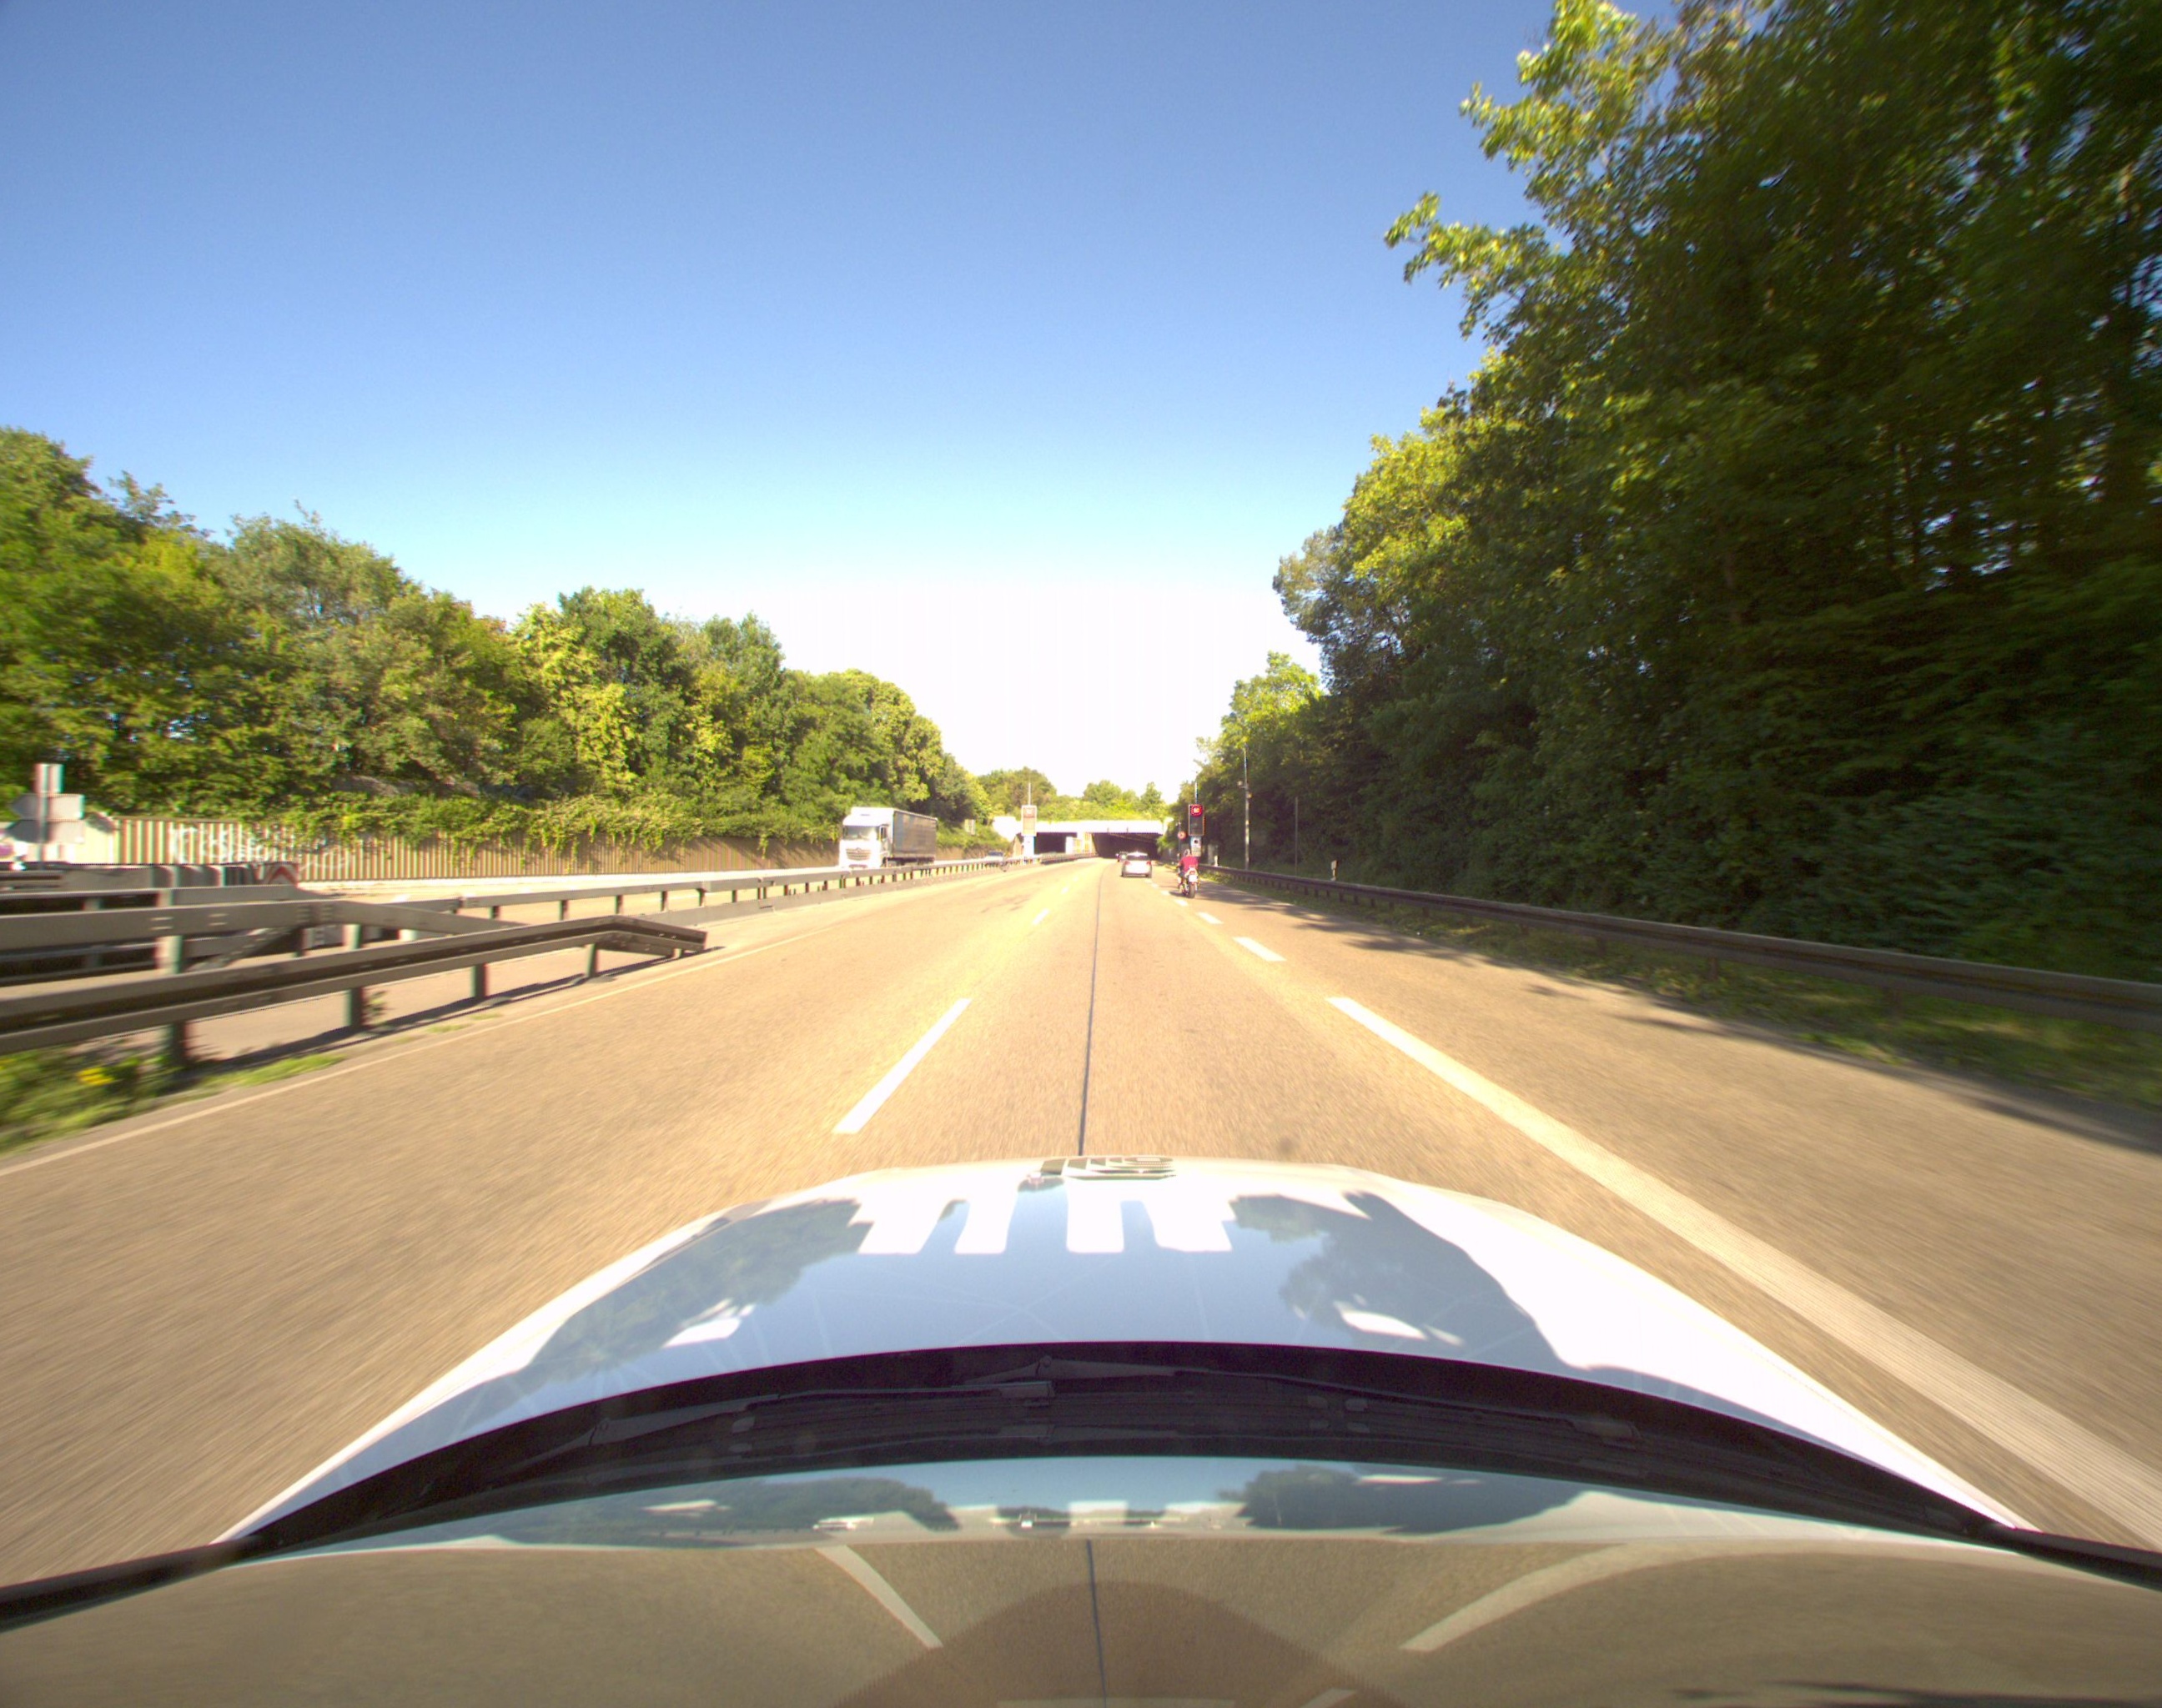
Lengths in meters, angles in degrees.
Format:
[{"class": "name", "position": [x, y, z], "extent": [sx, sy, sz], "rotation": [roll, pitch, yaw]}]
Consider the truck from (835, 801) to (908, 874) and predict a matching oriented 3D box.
[{"class": "truck", "position": [-13.179, -1.049, 51.795], "extent": [2.726, 4.261, 6.389], "rotation": [2, 1, 1]}]

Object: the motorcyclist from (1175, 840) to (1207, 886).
[{"class": "motorcyclist", "position": [3.709, 0.301, 27.568], "extent": [0.880, 1.501, 1.063], "rotation": [2, 1, 0]}]

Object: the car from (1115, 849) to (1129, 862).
[{"class": "car", "position": [5.982, 0.192, 119.517], "extent": [1.987, 1.925, 4.001], "rotation": [1, 1, 1]}]

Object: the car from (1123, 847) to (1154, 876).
[{"class": "car", "position": [3.430, 0.409, 49.123], "extent": [1.661, 1.552, 4.002], "rotation": [2, 1, 2]}]

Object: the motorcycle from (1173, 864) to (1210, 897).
[{"class": "motorcycle", "position": [3.690, 0.872, 27.365], "extent": [0.855, 0.991, 2.728], "rotation": [2, 0, 1]}]

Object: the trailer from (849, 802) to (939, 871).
[{"class": "trailer", "position": [-13.047, -1.238, 58.482], "extent": [2.737, 4.279, 14.089], "rotation": [2, 1, 1]}]

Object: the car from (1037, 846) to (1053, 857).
[{"class": "car", "position": [-5.711, -0.404, 128.134], "extent": [1.984, 1.486, 4.205], "rotation": [1, 1, 4]}]

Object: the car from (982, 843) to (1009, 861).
[{"class": "car", "position": [-8.429, -0.239, 80.834], "extent": [1.986, 1.658, 4.940], "rotation": [2, 1, 1]}]
